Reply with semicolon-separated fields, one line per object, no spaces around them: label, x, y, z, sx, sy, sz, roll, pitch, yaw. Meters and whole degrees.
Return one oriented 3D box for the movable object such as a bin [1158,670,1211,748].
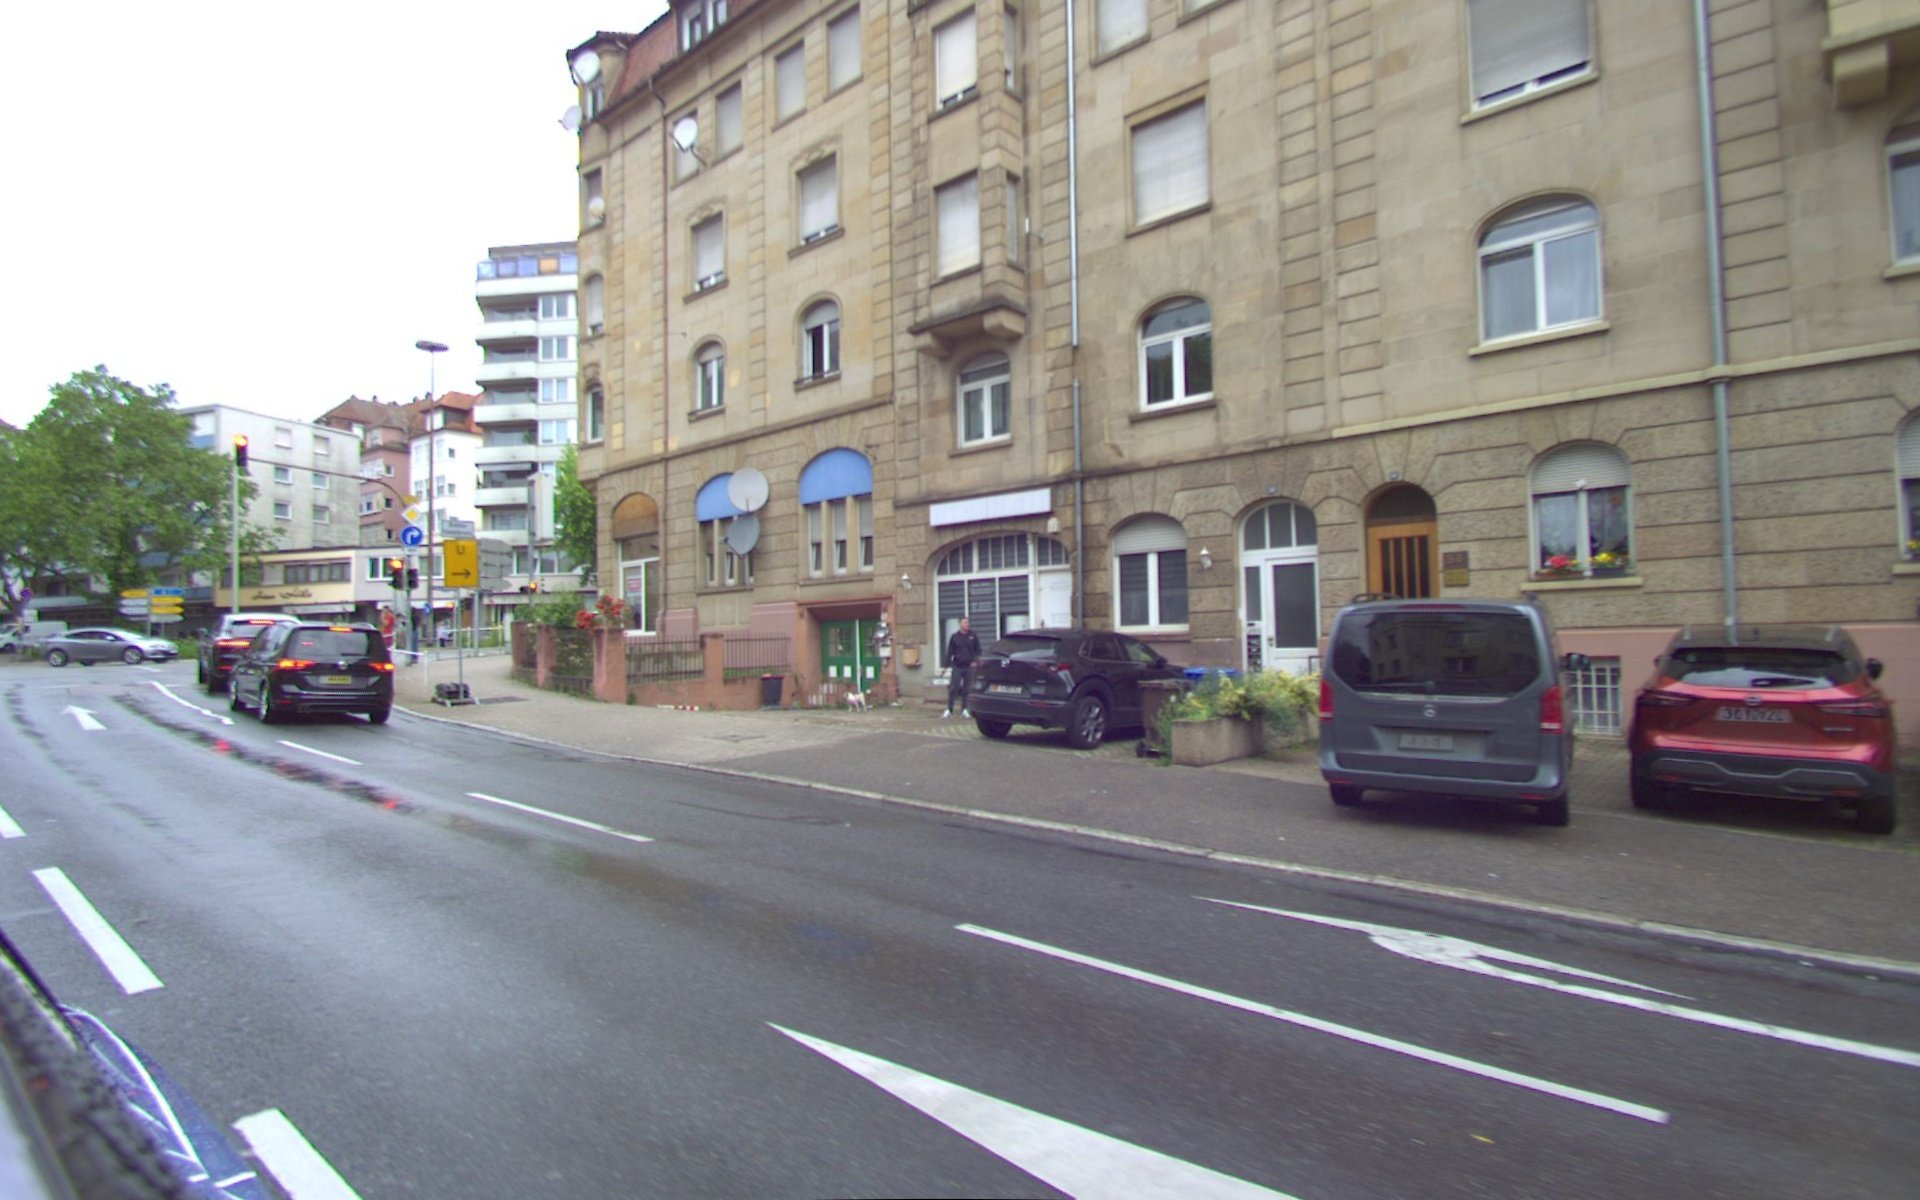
movable object such as a bin;2.838;1.363;12.798;0.499;0.910;0.441;-1;0;-43

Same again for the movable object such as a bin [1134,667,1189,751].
movable object such as a bin;2.467;1.321;12.391;0.499;0.957;0.441;-1;0;-43

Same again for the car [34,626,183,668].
car;-32.992;1.810;39.305;4.114;1.494;1.761;-1;-1;-9

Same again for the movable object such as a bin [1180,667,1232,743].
movable object such as a bin;3.203;1.358;13.180;0.499;0.910;0.441;-1;0;-43

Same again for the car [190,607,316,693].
car;-16.252;1.033;23.149;1.940;1.706;4.816;0;0;-40

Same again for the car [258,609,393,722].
car;-10.856;1.052;17.170;1.599;1.662;4.430;3;-3;-36

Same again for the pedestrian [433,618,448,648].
pedestrian;-29.366;1.854;57.199;0.609;1.706;0.626;1;-2;-14

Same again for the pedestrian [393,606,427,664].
pedestrian;-16.536;1.046;30.408;0.829;1.715;0.629;-2;0;44

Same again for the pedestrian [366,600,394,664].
pedestrian;-16.414;0.901;28.636;0.516;1.787;0.694;-2;0;-42

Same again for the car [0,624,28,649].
car;-68.602;2.606;71.387;1.789;1.702;3.819;0;0;14

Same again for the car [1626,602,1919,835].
car;7.656;0.871;9.479;1.896;1.602;4.055;0;1;40

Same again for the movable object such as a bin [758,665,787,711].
movable object such as a bin;-4.151;1.945;22.412;0.469;0.957;0.418;-1;0;-43

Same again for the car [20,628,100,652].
car;-59.523;2.645;67.022;1.790;1.426;3.697;0;0;7

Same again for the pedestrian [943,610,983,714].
pedestrian;0.051;1.086;17.910;0.562;1.790;0.474;0;0;26

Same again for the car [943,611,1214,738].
car;1.824;0.949;14.572;1.872;1.522;4.104;-2;-1;41

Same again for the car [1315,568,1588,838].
car;4.934;0.726;9.803;1.857;1.953;4.640;-2;0;31

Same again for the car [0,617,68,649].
car;-64.080;2.236;68.856;1.861;1.992;4.957;0;0;12
